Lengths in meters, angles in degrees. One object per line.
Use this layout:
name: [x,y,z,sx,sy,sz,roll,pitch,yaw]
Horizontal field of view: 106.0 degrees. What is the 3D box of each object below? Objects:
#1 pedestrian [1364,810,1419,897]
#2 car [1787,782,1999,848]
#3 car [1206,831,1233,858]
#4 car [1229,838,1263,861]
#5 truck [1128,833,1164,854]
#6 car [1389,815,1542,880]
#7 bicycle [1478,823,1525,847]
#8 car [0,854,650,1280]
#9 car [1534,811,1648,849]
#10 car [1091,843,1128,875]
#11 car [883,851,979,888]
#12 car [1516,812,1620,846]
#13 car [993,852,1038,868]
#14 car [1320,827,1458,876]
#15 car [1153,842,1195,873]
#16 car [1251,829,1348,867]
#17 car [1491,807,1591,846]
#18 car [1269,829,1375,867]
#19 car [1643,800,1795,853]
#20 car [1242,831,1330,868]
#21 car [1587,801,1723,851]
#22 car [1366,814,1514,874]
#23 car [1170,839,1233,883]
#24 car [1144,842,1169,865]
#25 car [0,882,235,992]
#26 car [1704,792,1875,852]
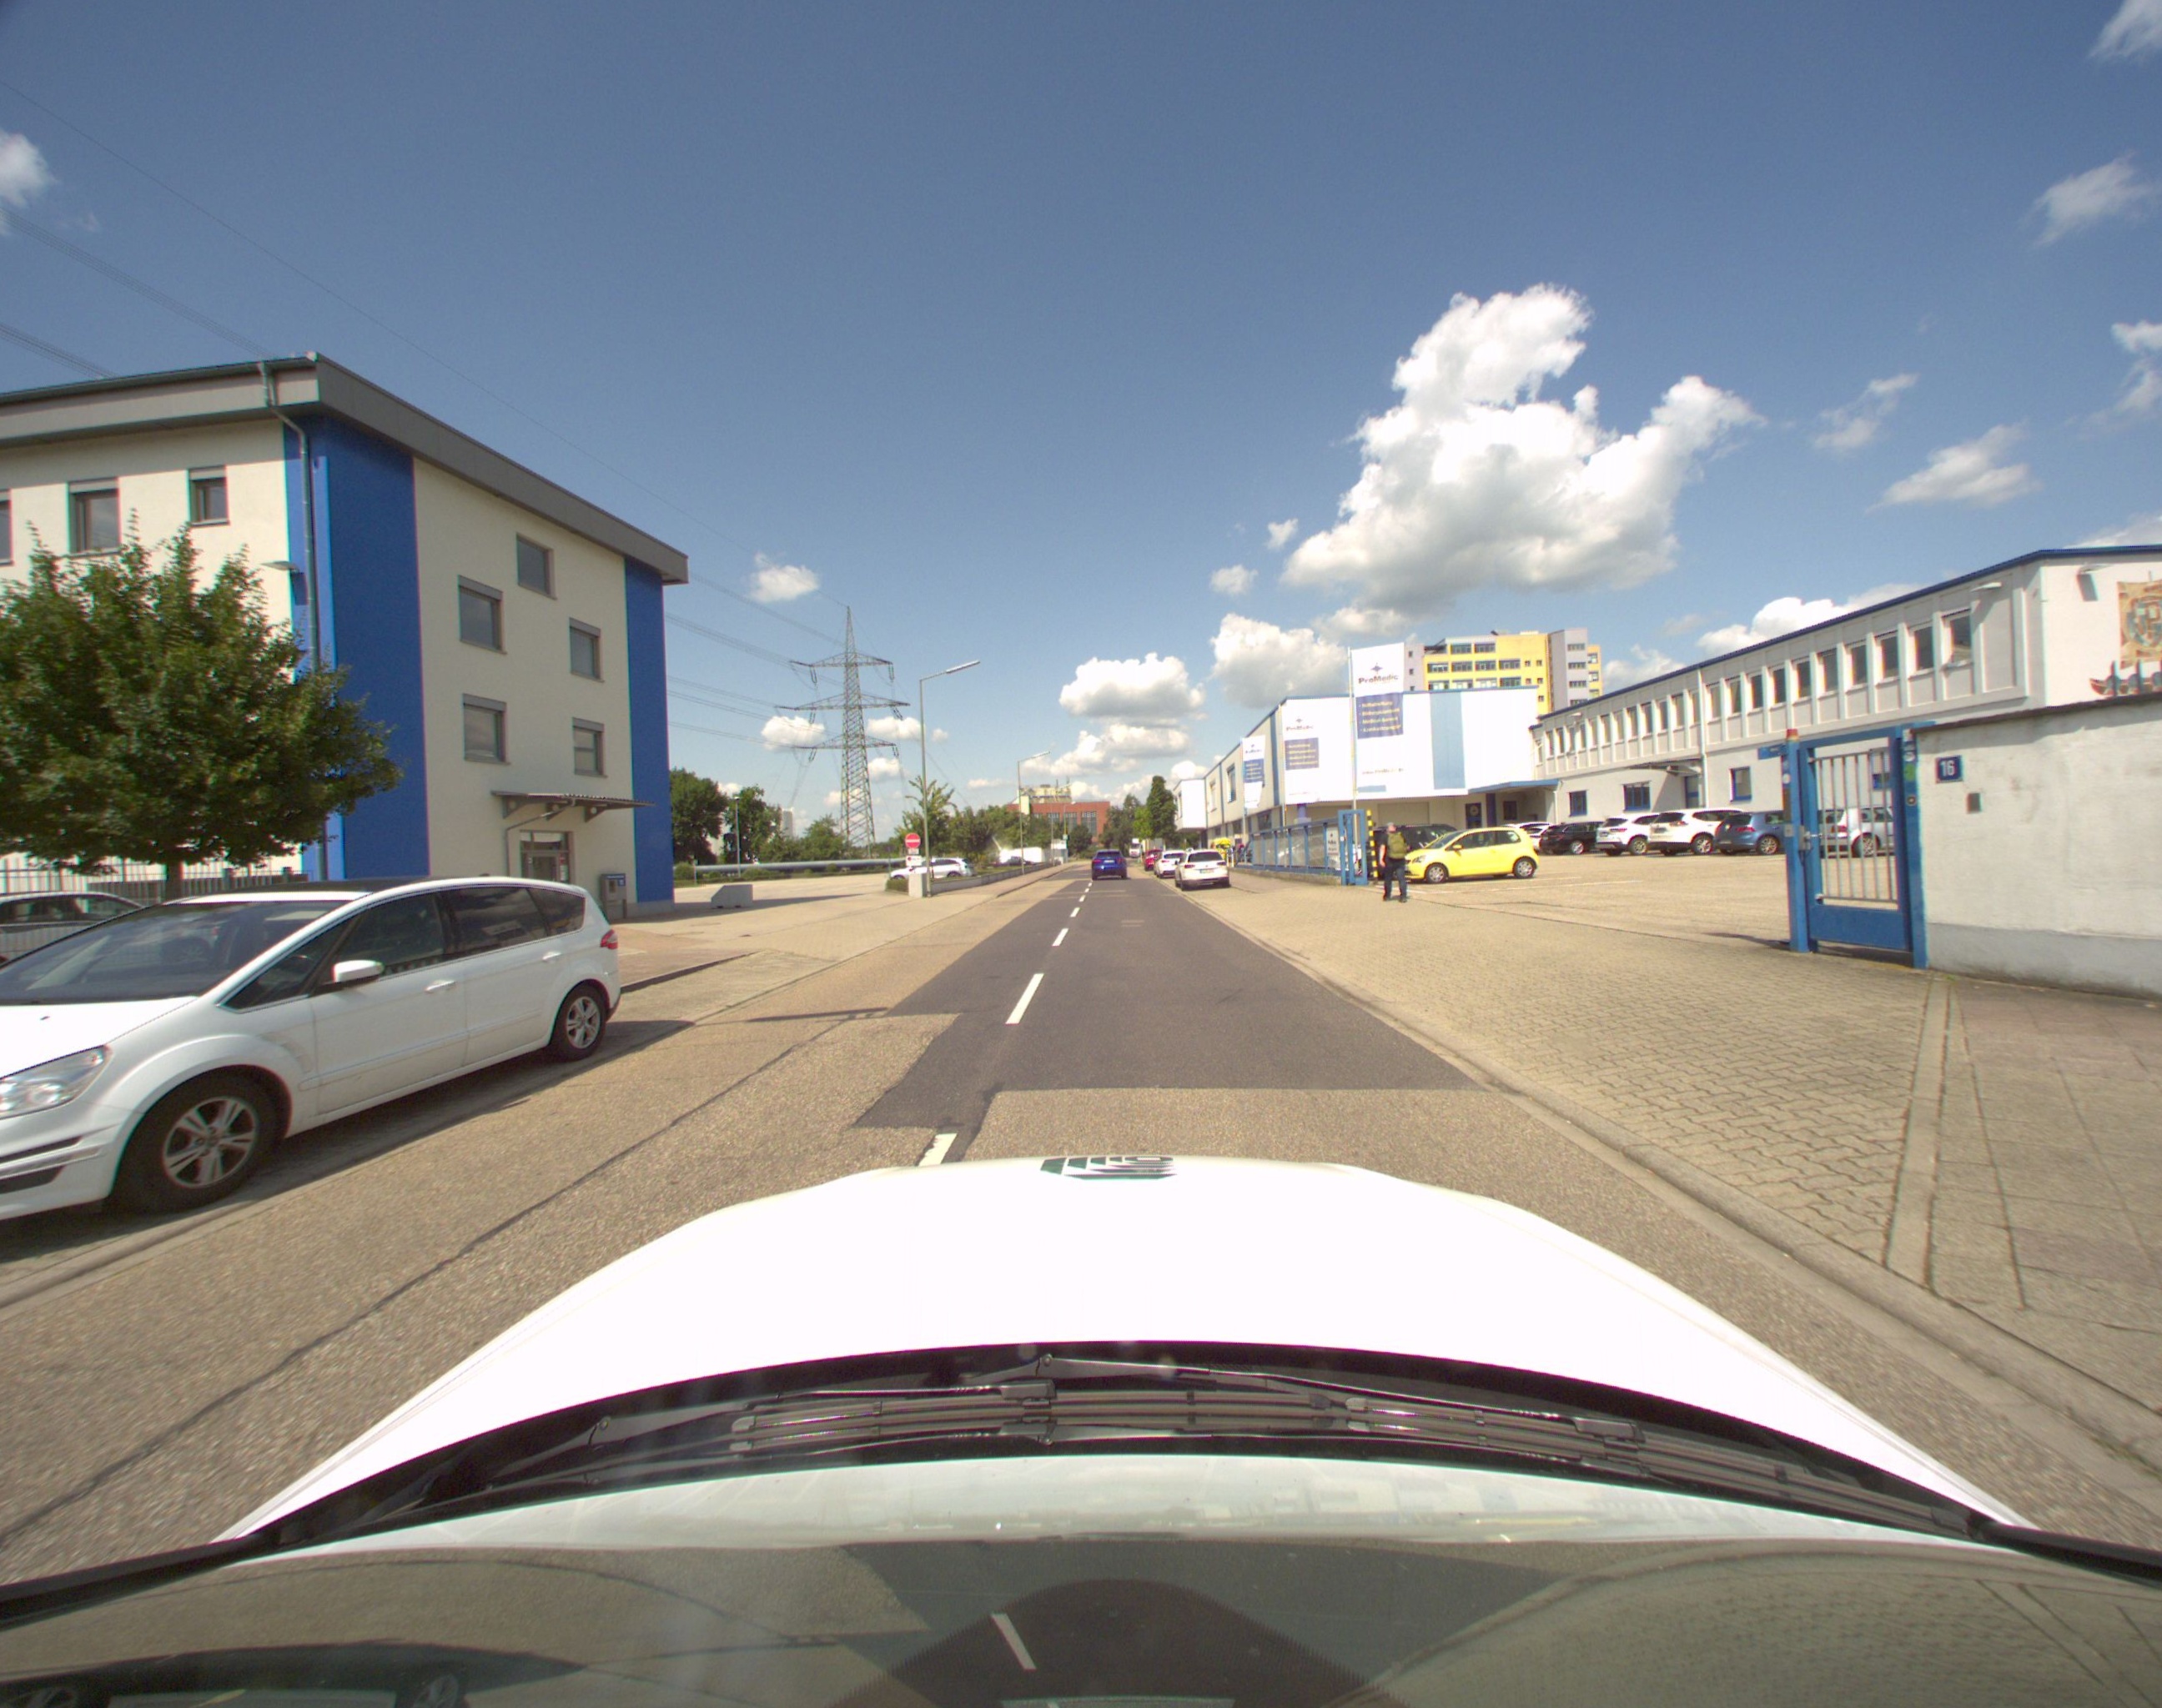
pedestrian: [6.645,-0.013,17.453,0.766,1.756,0.787,-4,0,1]
car: [22.664,-1.052,22.867,3.864,1.486,1.867,-4,-1,5]
car: [13.739,-0.909,80.781,1.916,2.464,5.262,-2,0,2]
car: [13.119,-0.356,65.050,1.986,1.657,4.292,-3,-1,2]
truck: [11.962,-2.020,149.612,2.298,3.567,9.428,-1,2,32]
car: [10.784,-0.182,23.030,3.391,1.490,1.792,-5,0,1]
bicycle: [22.987,-1.025,44.525,2.216,1.212,0.642,-3,0,1]
car: [-5.216,0.879,5.557,1.861,1.708,4.754,-2,0,2]
car: [23.237,-1.093,37.224,3.973,1.508,1.935,-3,0,1]
car: [1.570,0.272,45.417,1.902,1.593,4.703,-2,0,2]
car: [-8.046,0.811,44.010,4.742,1.602,1.999,-4,0,-2]
car: [23.644,-1.193,39.637,3.972,1.399,1.807,-3,0,1]
car: [-6.253,0.583,78.106,3.972,1.376,1.804,-3,0,2]
car: [10.473,-0.094,27.959,3.971,1.420,2.001,-3,0,2]
car: [5.026,0.175,44.553,1.828,1.520,4.463,-2,0,2]
car: [10.681,-0.288,40.049,4.211,1.647,2.148,-3,0,0]
car: [23.618,-1.396,41.900,4.043,1.740,1.807,-3,0,1]
car: [10.940,-0.273,37.201,4.262,1.420,2.001,-3,0,2]
car: [22.676,-0.966,29.064,3.972,1.630,1.807,-3,0,1]
car: [10.657,-0.230,42.630,4.070,1.686,2.000,-3,0,0]
car: [22.700,-1.088,32.323,3.972,1.701,1.935,-3,0,1]
car: [11.066,-0.303,25.323,3.792,1.680,1.792,-2,0,1]
car: [4.655,0.258,32.105,1.861,1.520,4.599,-2,0,2]
car: [5.853,-0.018,63.425,1.747,1.650,4.682,-2,0,4]
car: [-16.682,1.315,13.138,1.862,1.507,3.767,-3,0,8]
car: [23.166,-1.018,26.744,3.972,1.690,1.807,-3,0,1]
